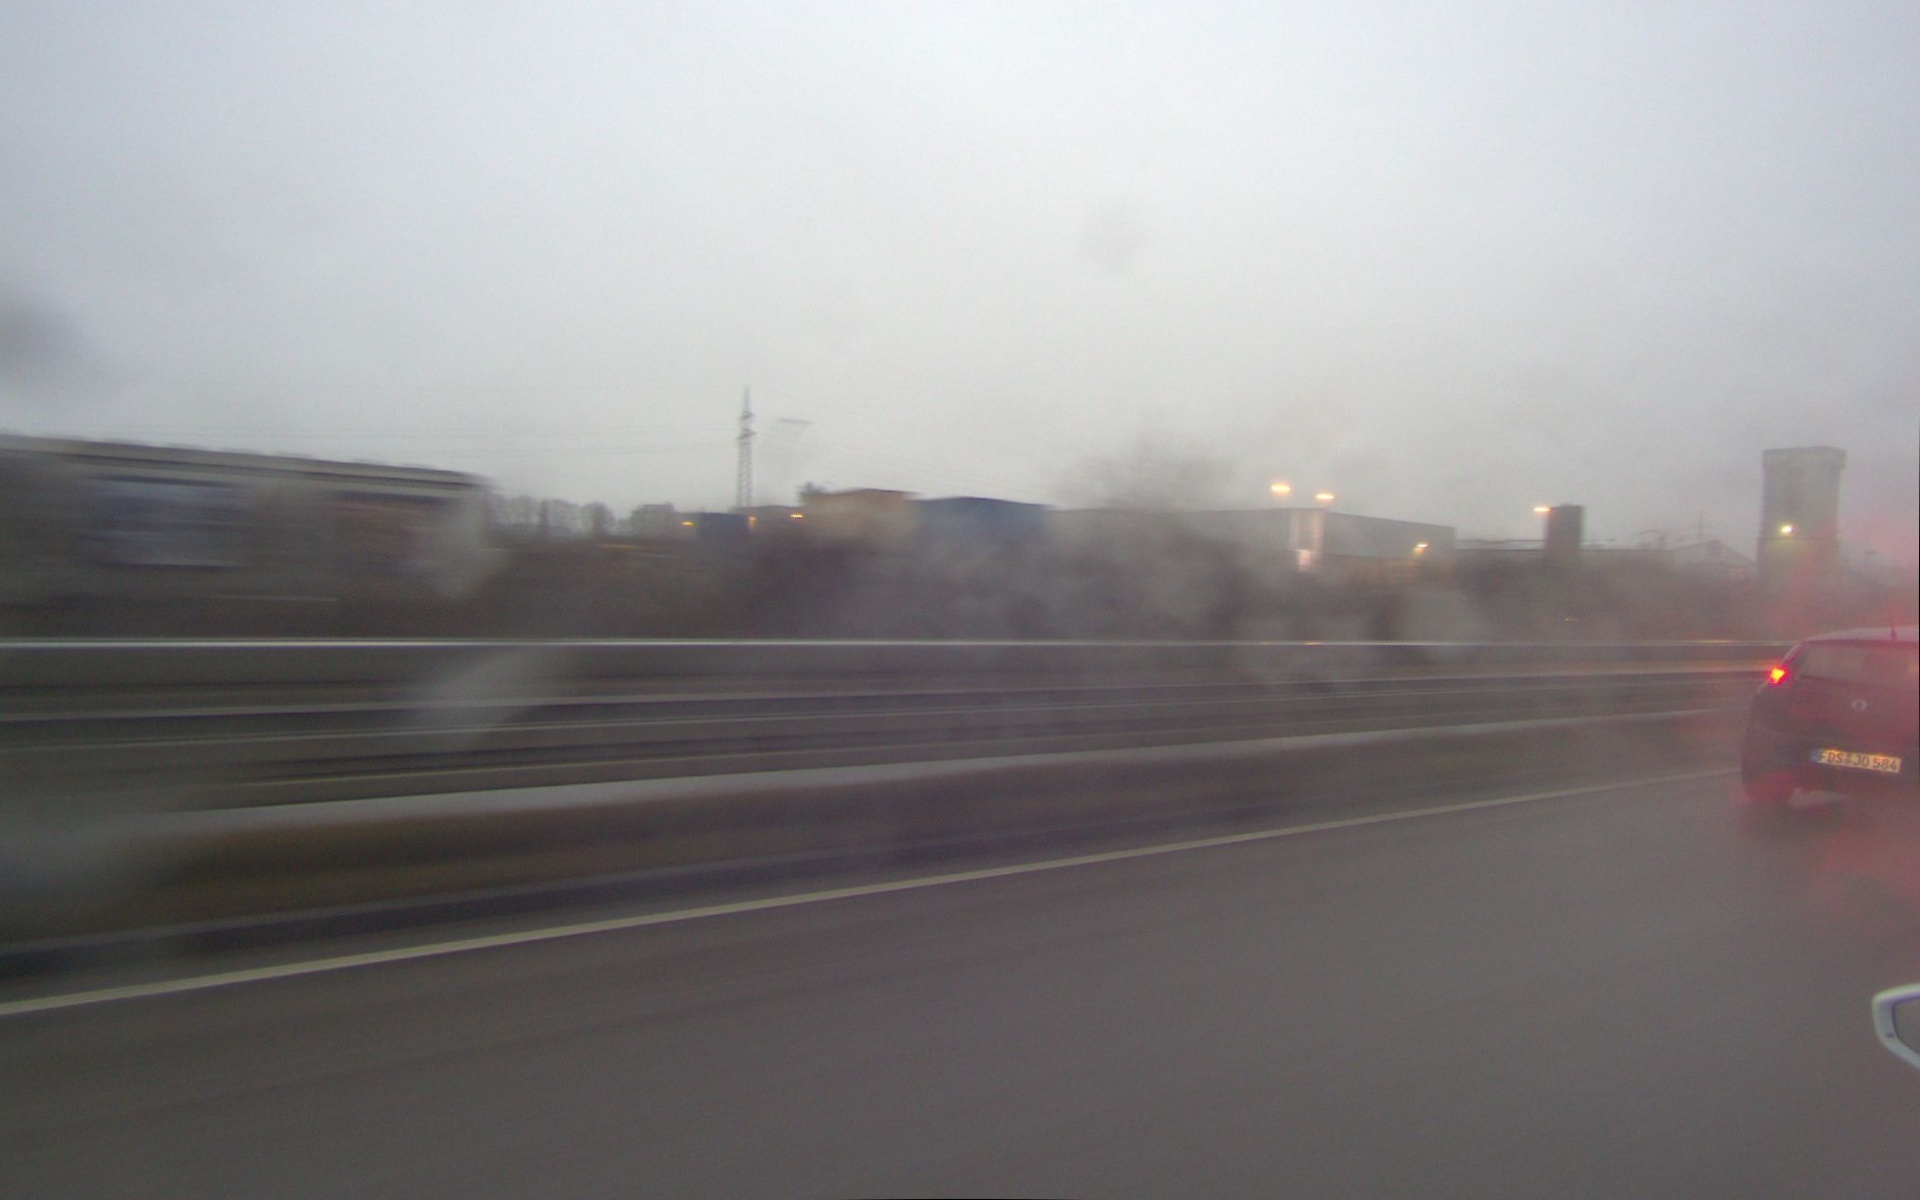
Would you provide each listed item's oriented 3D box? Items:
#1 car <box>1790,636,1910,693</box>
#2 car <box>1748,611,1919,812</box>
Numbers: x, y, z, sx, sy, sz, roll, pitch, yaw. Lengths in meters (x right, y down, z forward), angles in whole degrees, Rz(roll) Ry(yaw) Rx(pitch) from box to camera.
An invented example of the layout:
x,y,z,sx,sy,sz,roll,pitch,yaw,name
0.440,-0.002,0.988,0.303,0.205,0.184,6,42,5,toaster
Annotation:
x,y,z,sx,sy,sz,roll,pitch,yaw,name
28.635,2.020,32.296,3.953,1.662,1.732,1,0,-30,car
8.532,0.875,8.494,3.955,1.410,1.617,2,1,-31,car
